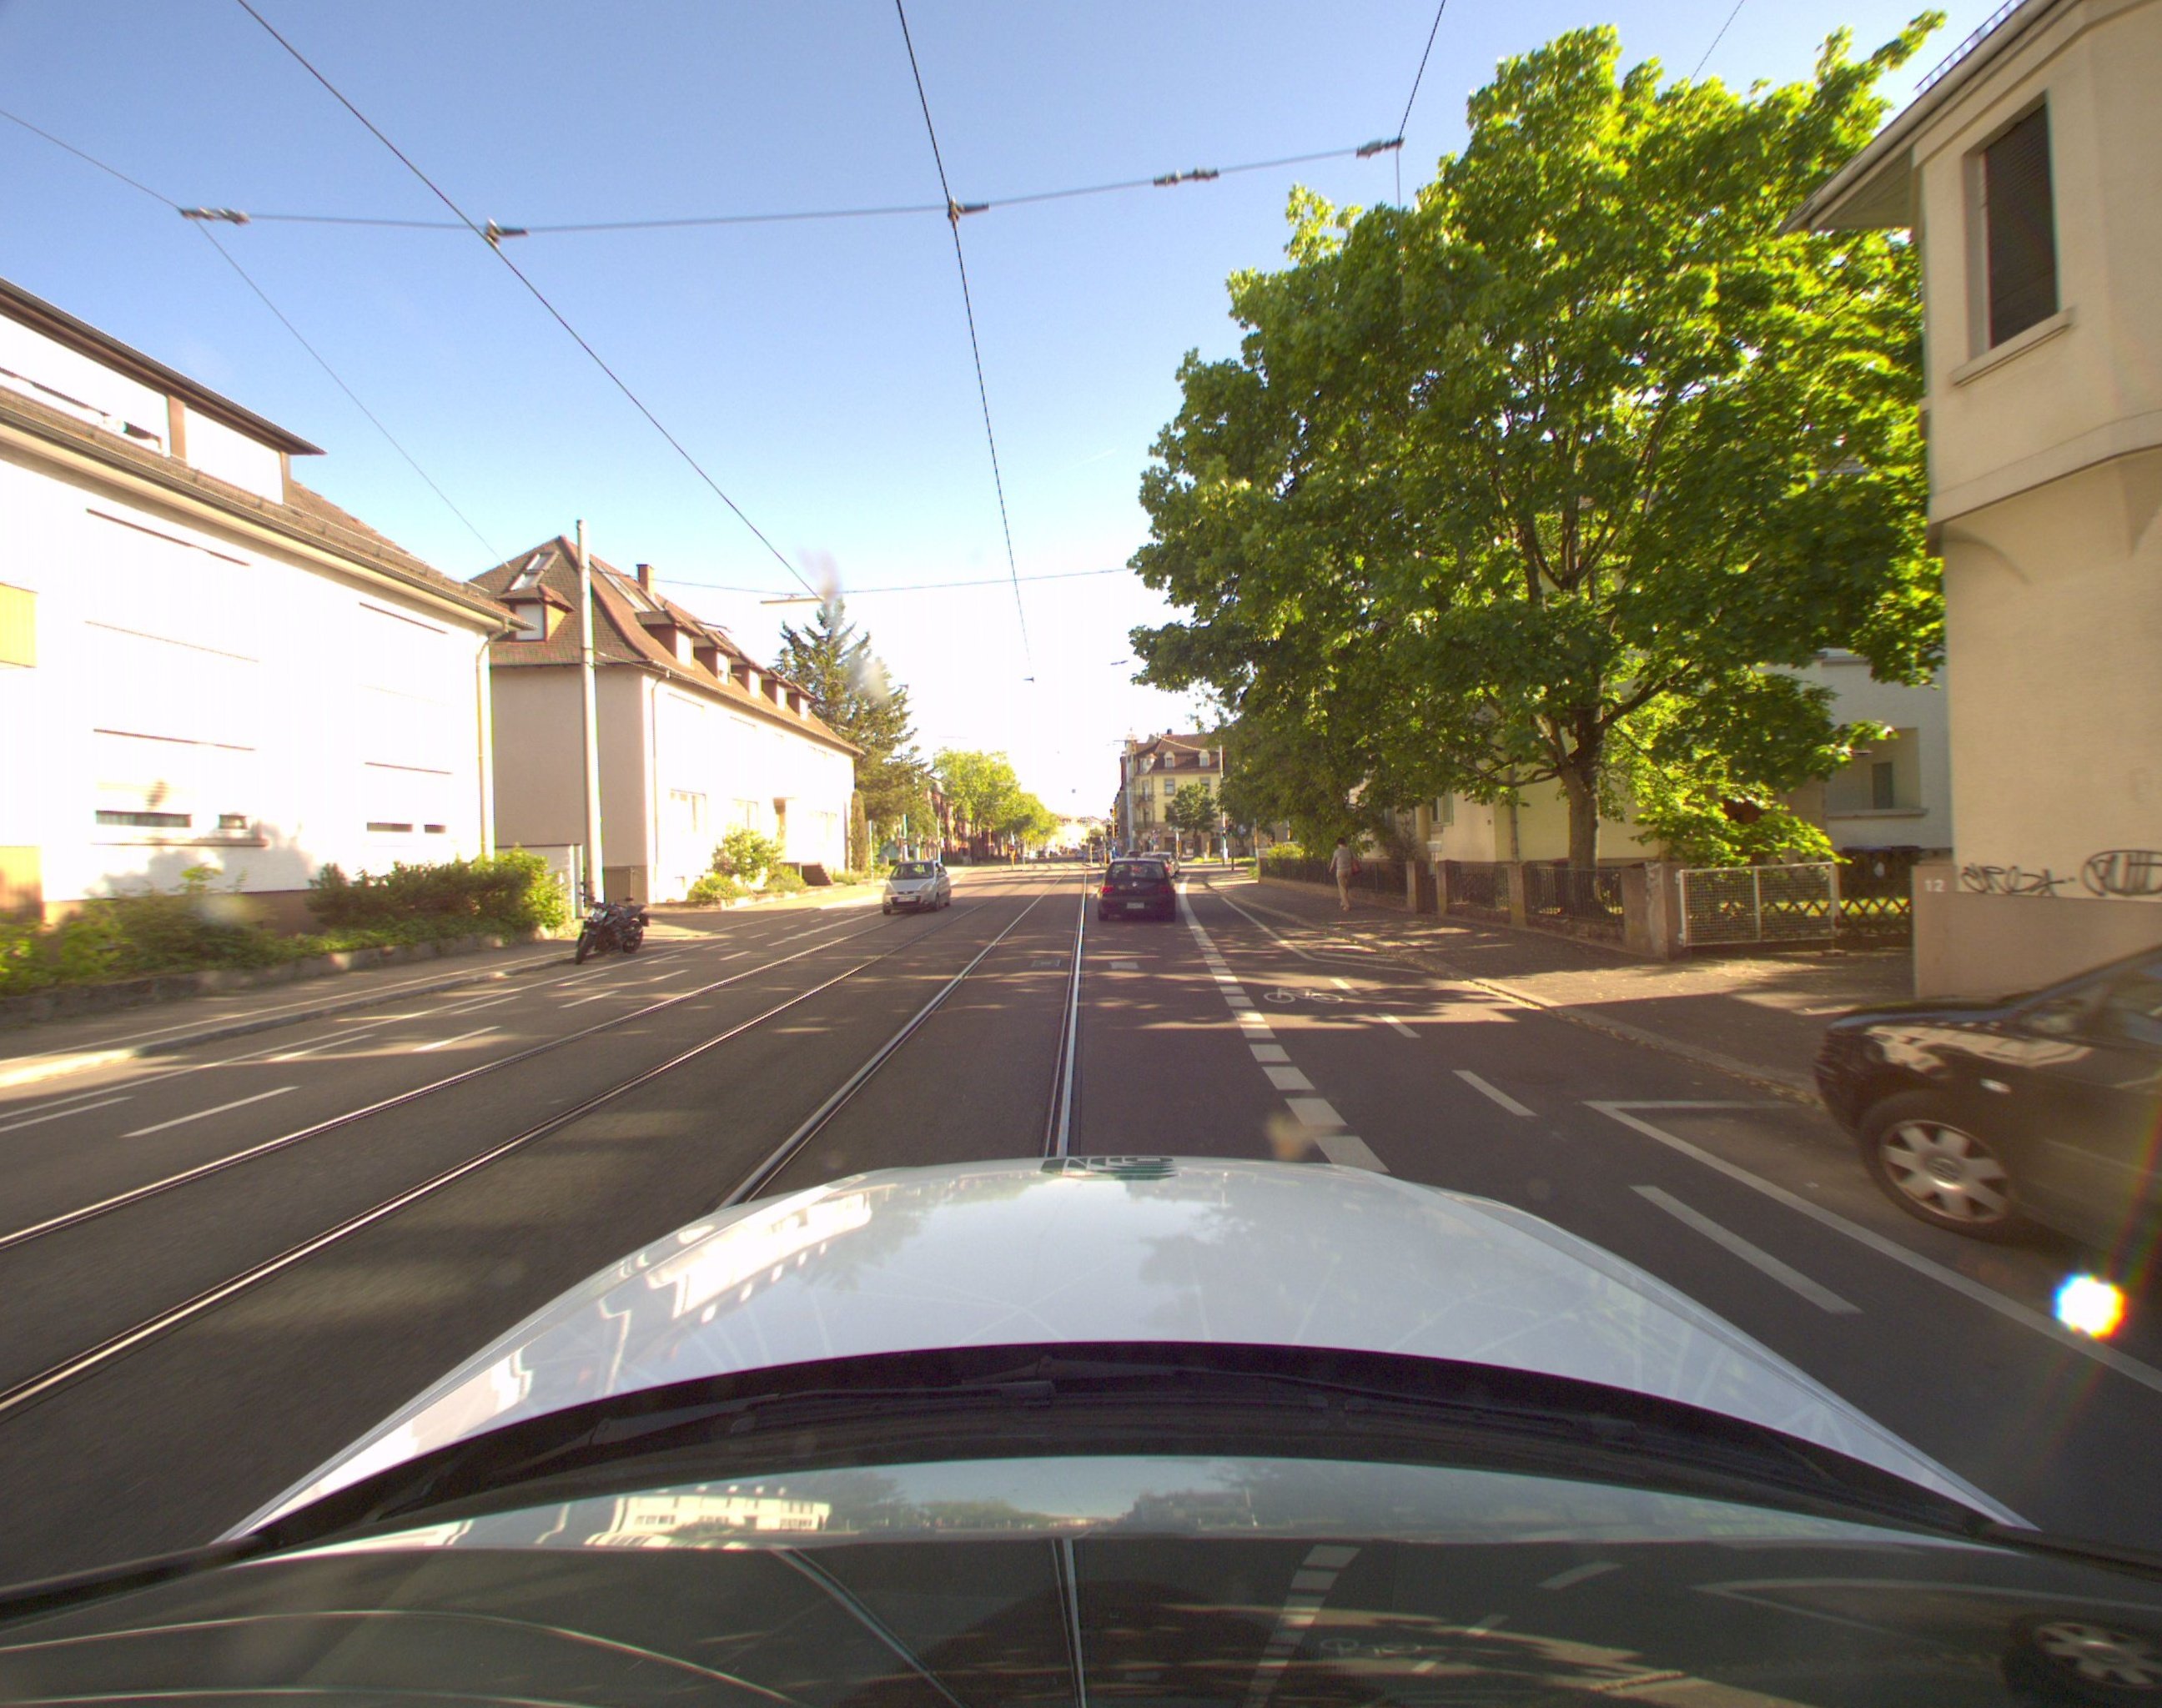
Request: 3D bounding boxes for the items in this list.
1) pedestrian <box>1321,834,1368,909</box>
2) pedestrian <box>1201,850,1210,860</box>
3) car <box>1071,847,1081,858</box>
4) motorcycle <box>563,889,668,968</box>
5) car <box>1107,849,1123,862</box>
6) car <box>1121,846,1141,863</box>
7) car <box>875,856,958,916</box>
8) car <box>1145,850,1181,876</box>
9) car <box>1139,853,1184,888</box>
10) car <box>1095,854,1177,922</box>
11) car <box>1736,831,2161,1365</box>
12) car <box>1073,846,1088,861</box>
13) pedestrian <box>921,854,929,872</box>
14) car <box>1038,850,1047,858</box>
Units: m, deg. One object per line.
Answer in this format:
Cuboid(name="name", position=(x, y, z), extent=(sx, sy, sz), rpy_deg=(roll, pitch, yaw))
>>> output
Cuboid(name="pedestrian", position=(6.204, 0.399, 19.217), extent=(0.715, 1.688, 0.870), rpy_deg=(-3, 0, -1))
Cuboid(name="pedestrian", position=(16.092, 0.106, 105.474), extent=(0.976, 1.187, 0.743), rpy_deg=(-2, 0, -1))
Cuboid(name="car", position=(-0.908, -0.230, 147.084), extent=(1.782, 1.859, 3.998), rpy_deg=(-2, 0, -1))
Cuboid(name="motorcycle", position=(-8.199, 1.275, 14.469), extent=(0.534, 1.162, 2.172), rpy_deg=(-4, 0, 1))
Cuboid(name="car", position=(3.945, 0.140, 95.338), extent=(1.676, 1.453, 3.377), rpy_deg=(-2, 0, -1))
Cuboid(name="car", position=(4.623, 0.052, 75.594), extent=(1.566, 1.312, 3.496), rpy_deg=(-2, -4, -2))
Cuboid(name="car", position=(-4.614, 0.848, 23.282), extent=(1.570, 1.477, 3.441), rpy_deg=(-3, 0, 1))
Cuboid(name="car", position=(5.004, 0.529, 49.308), extent=(1.728, 1.441, 3.823), rpy_deg=(-2, 0, 12))
Cuboid(name="car", position=(3.493, 0.669, 35.785), extent=(1.628, 1.372, 3.758), rpy_deg=(-2, 0, 1))
Cuboid(name="car", position=(1.346, 0.717, 19.049), extent=(1.707, 1.402, 4.012), rpy_deg=(0, 0, 6))
Cuboid(name="car", position=(3.993, 0.706, 2.148), extent=(1.658, 1.564, 3.775), rpy_deg=(-2, 0, 4))
Cuboid(name="car", position=(-0.092, -0.040, 107.463), extent=(1.782, 1.860, 3.998), rpy_deg=(-1, 0, -1))
Cuboid(name="pedestrian", position=(-14.953, 0.892, 78.099), extent=(0.611, 1.689, 0.729), rpy_deg=(1, 0, -18))
Cuboid(name="car", position=(-9.273, -0.085, 194.159), extent=(1.968, 1.815, 4.291), rpy_deg=(-2, 0, -4))
